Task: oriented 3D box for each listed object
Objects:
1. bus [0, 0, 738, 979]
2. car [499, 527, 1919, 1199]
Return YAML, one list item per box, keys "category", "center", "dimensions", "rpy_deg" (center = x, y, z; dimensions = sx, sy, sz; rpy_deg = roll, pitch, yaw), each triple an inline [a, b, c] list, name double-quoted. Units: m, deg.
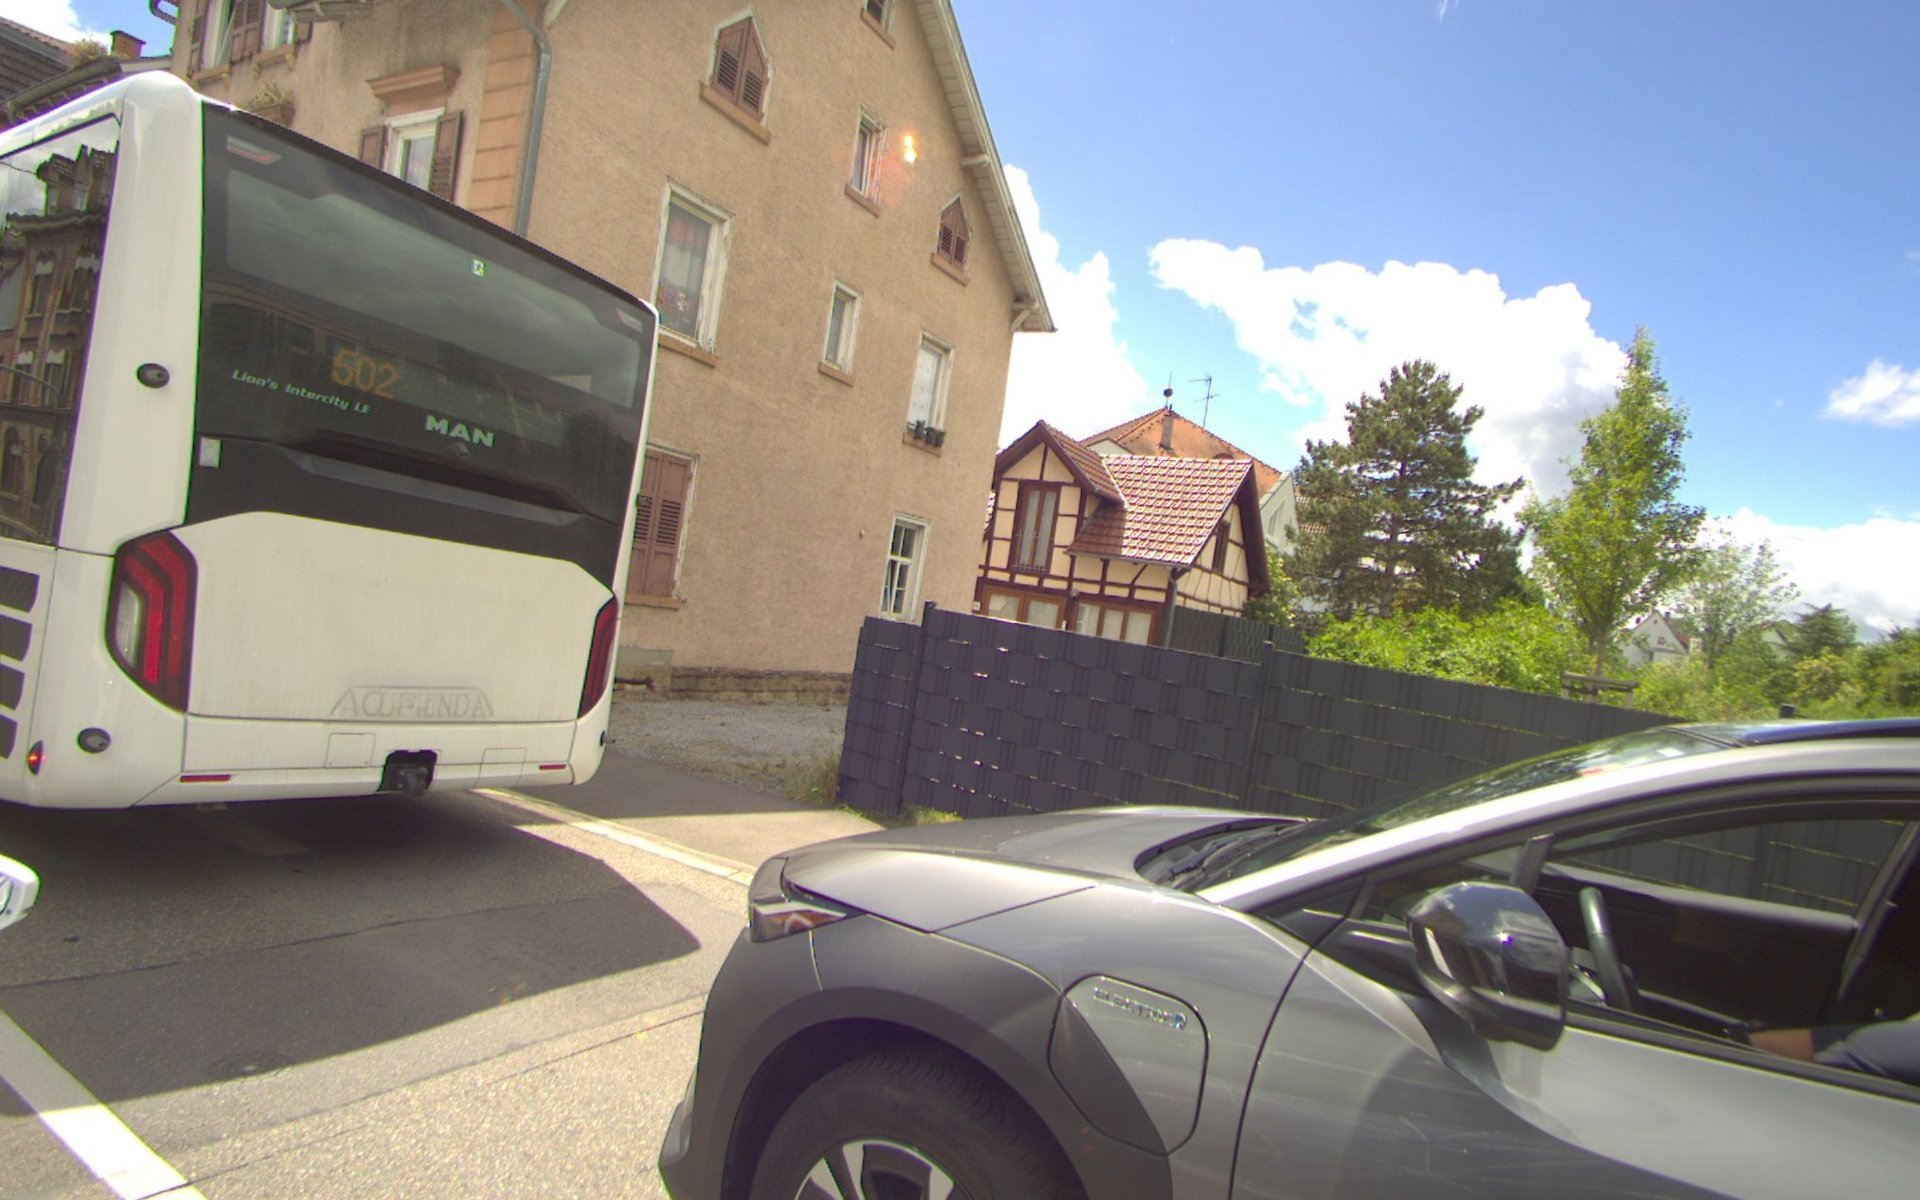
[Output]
- category: "bus"
  center: [-7.427, -0.924, 7.799]
  dimensions: [12.281, 3.551, 2.910]
  rpy_deg: [6, -2, 32]
- category: "car"
  center: [1.510, 0.973, 1.824]
  dimensions: [4.504, 1.648, 1.997]
  rpy_deg: [7, -1, 31]
